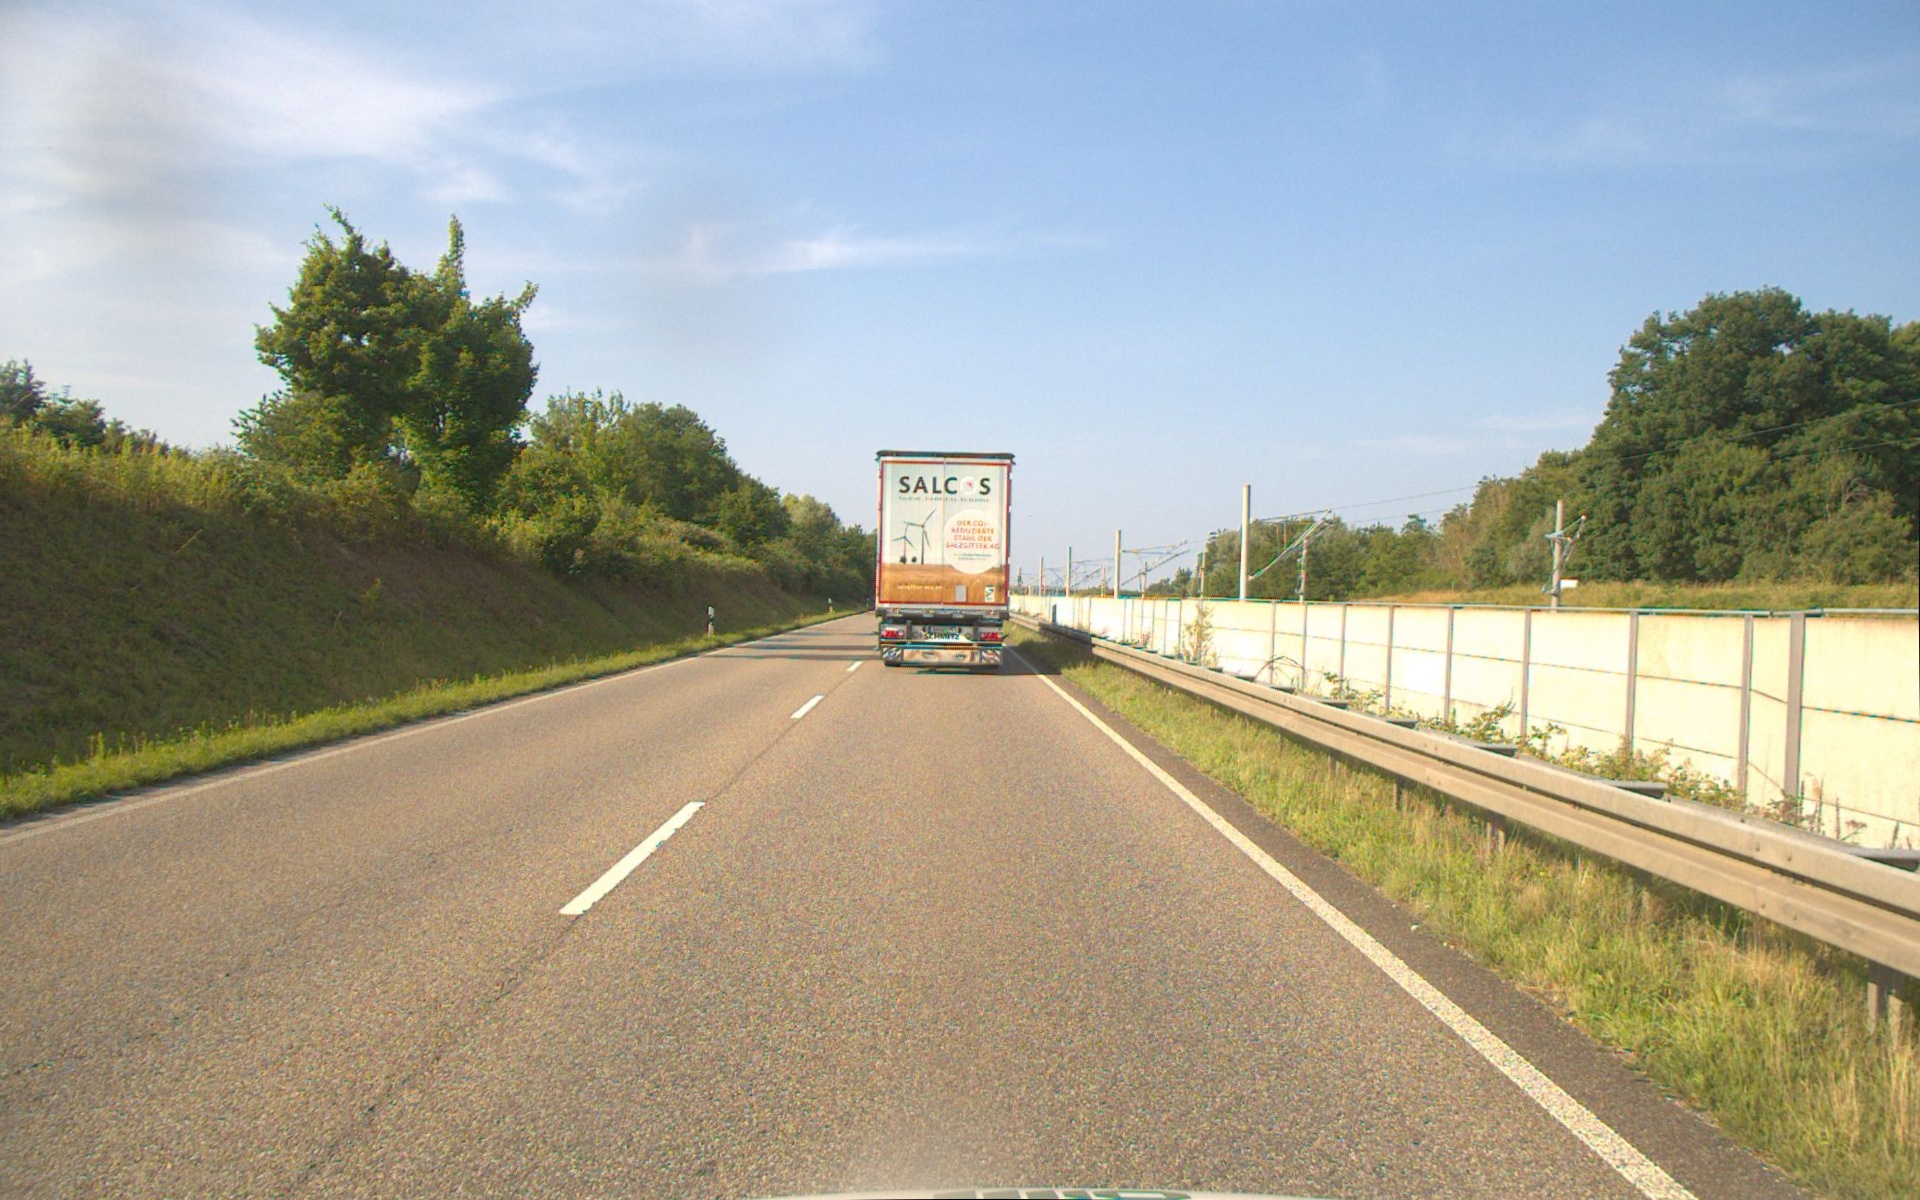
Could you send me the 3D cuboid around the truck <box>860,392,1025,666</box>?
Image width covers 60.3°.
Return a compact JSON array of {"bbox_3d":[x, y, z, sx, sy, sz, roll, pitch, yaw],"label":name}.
[{"bbox_3d":[-0.499,-1.335,36.369,2.972,5.006,11.680,1,0,-2],"label":"truck"}]
